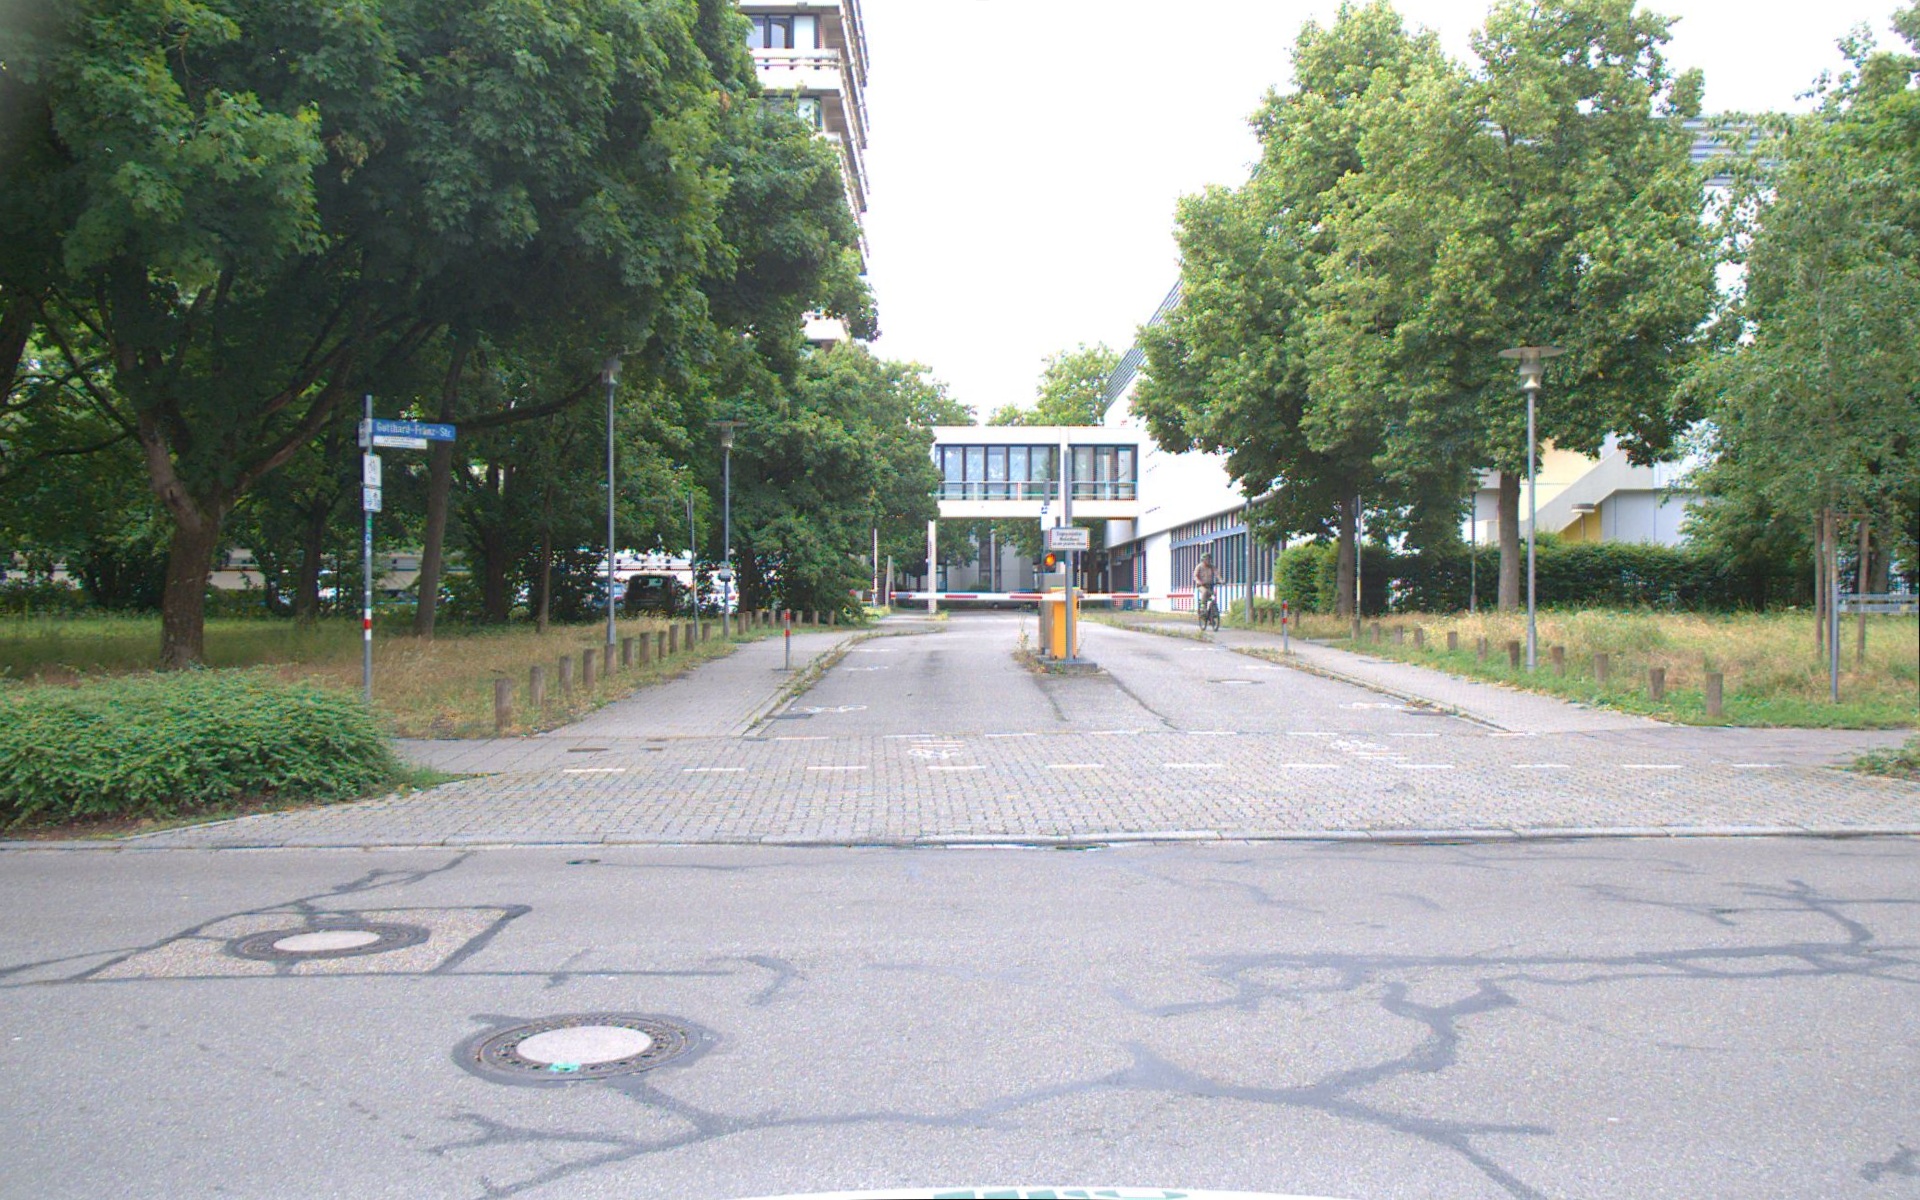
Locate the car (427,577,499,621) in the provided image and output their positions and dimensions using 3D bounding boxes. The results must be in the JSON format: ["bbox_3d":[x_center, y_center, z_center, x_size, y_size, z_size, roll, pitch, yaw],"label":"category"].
[{"bbox_3d":[-19.577,-0.045,65.323,1.955,1.646,3.995,0,0,-5],"label":"car"}]

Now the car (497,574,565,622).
[{"bbox_3d":[-16.910,-0.044,65.330,1.955,1.758,3.995,0,-1,-5],"label":"car"}]

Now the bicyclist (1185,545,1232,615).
[{"bbox_3d":[6.032,-0.482,40.184,0.996,1.673,0.923,0,1,-1],"label":"bicyclist"}]

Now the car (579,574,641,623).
[{"bbox_3d":[-13.875,-0.039,65.746,1.955,1.825,3.995,0,-1,-5],"label":"car"}]

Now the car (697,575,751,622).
[{"bbox_3d":[-9.375,-0.032,65.936,1.955,1.792,3.995,0,-1,-5],"label":"car"}]

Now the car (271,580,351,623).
[{"bbox_3d":[-25.653,0.049,65.515,1.880,1.646,3.995,0,0,-5],"label":"car"}]

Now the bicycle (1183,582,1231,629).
[{"bbox_3d":[6.003,0.121,40.275,0.849,1.093,2.141,0,1,0],"label":"bicycle"}]
